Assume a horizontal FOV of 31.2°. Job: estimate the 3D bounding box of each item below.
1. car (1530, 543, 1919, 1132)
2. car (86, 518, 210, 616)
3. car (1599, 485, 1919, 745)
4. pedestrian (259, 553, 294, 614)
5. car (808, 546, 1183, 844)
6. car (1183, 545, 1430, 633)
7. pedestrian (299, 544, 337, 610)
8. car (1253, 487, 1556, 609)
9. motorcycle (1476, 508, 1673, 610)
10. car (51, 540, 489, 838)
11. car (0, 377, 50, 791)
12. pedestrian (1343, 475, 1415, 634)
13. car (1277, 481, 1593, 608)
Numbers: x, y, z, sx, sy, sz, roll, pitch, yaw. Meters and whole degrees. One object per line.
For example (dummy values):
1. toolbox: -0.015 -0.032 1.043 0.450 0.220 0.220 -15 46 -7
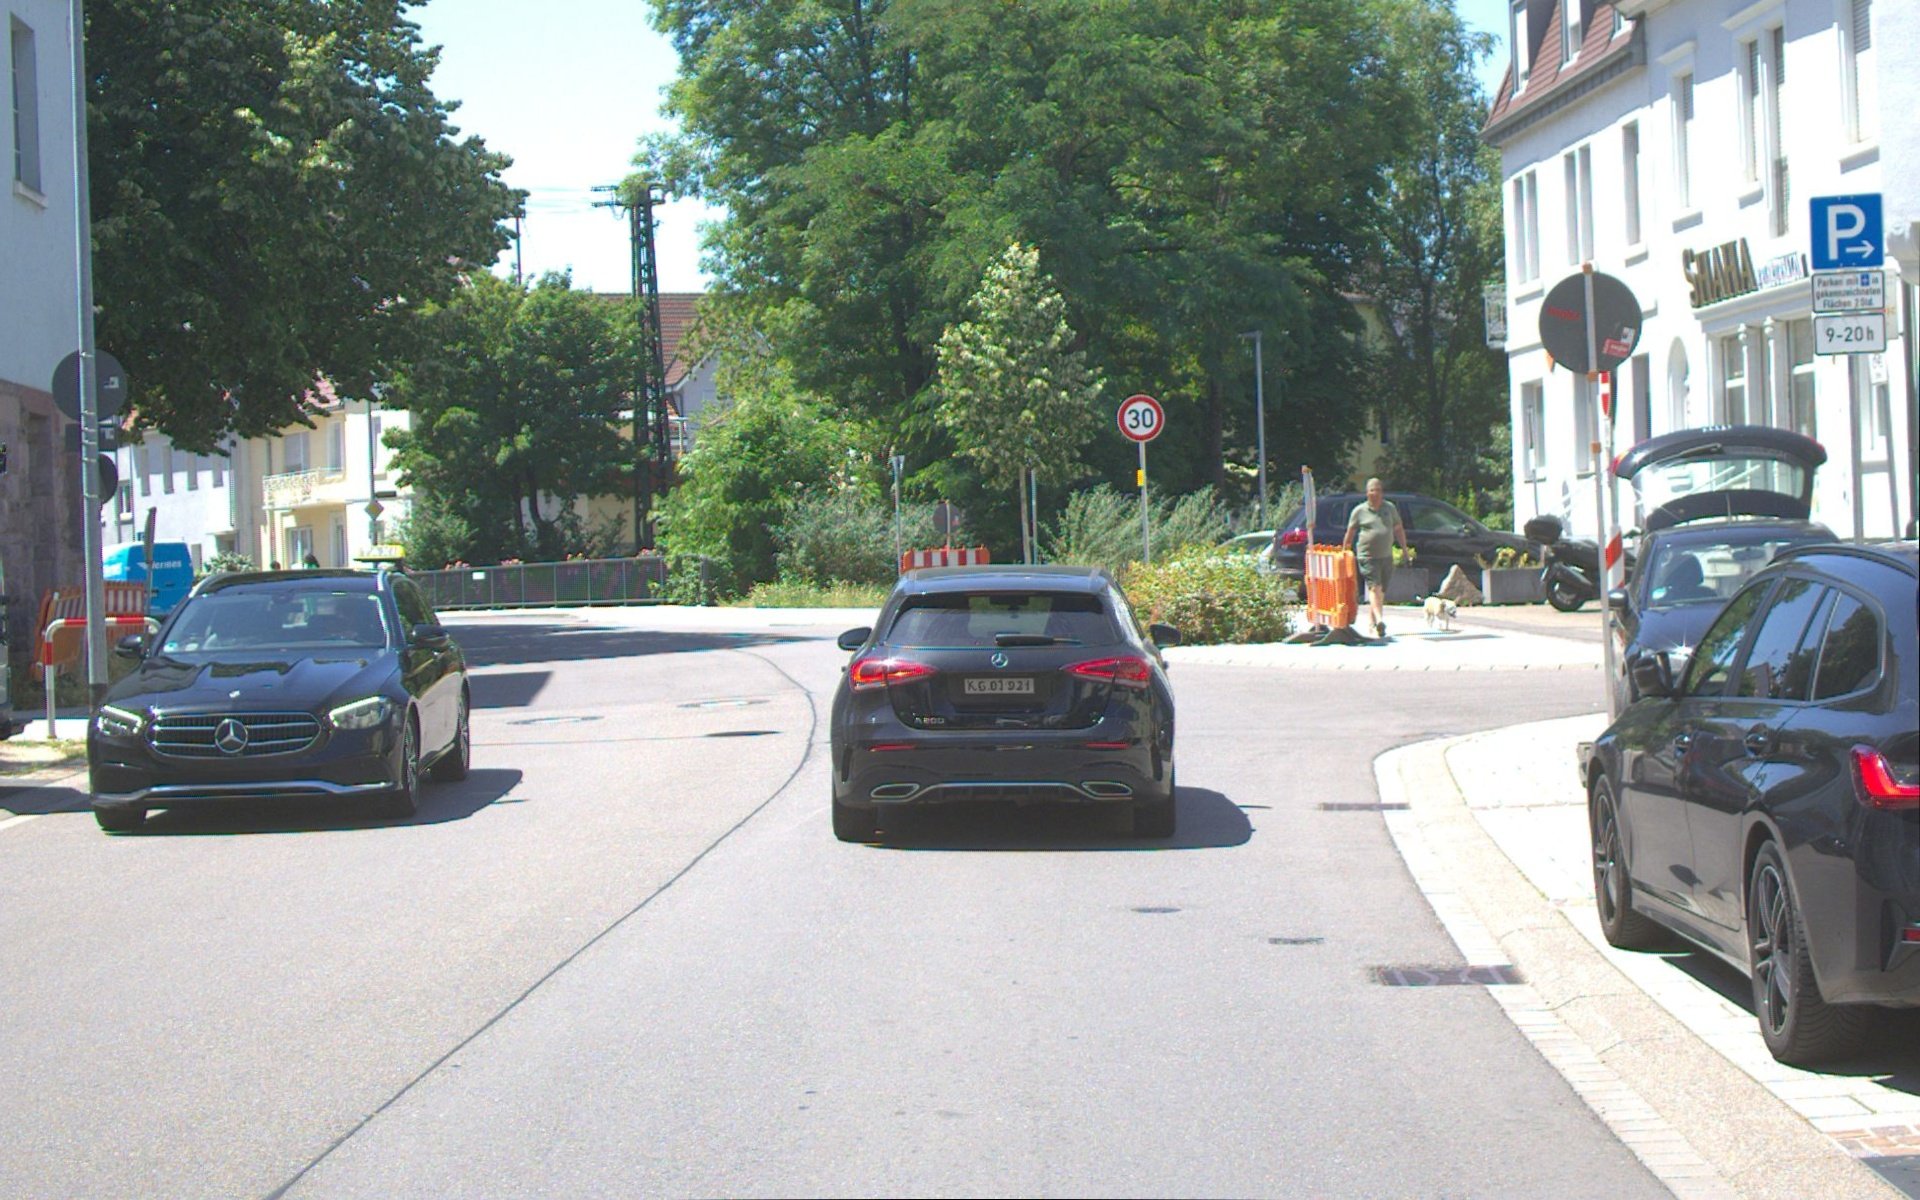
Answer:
1. car: 3.031 0.544 10.822 1.724 1.400 4.609 -4 0 1
2. car: -22.286 -0.871 94.219 2.133 2.533 4.649 -2 0 -28
3. car: 5.344 0.038 23.339 1.873 1.486 3.860 -3 2 11
4. pedestrian: -18.309 -0.434 92.061 0.614 1.607 0.837 -2 0 -33
5. car: 0.242 0.507 19.101 1.828 1.437 3.999 -1 -1 2
6. car: 6.173 -0.217 61.117 4.190 1.345 1.860 -1 6 -39
7. pedestrian: -17.076 -0.605 91.413 0.701 1.735 0.661 -2 0 45
8. car: 6.445 -0.750 50.094 4.074 1.710 1.856 -1 0 -4
9. motorcycle: 7.993 -0.533 44.767 2.376 1.271 0.856 -1 1 -3
10. car: -4.161 0.454 21.517 1.893 1.548 4.799 -1 2 -2
11. car: -9.199 -0.084 22.726 5.767 2.723 2.292 0 0 -2
12. pedestrian: 4.831 -0.535 39.672 0.746 1.790 0.843 -2 2 5
13. car: 6.624 -0.773 48.167 4.074 1.710 1.856 -1 0 -4
